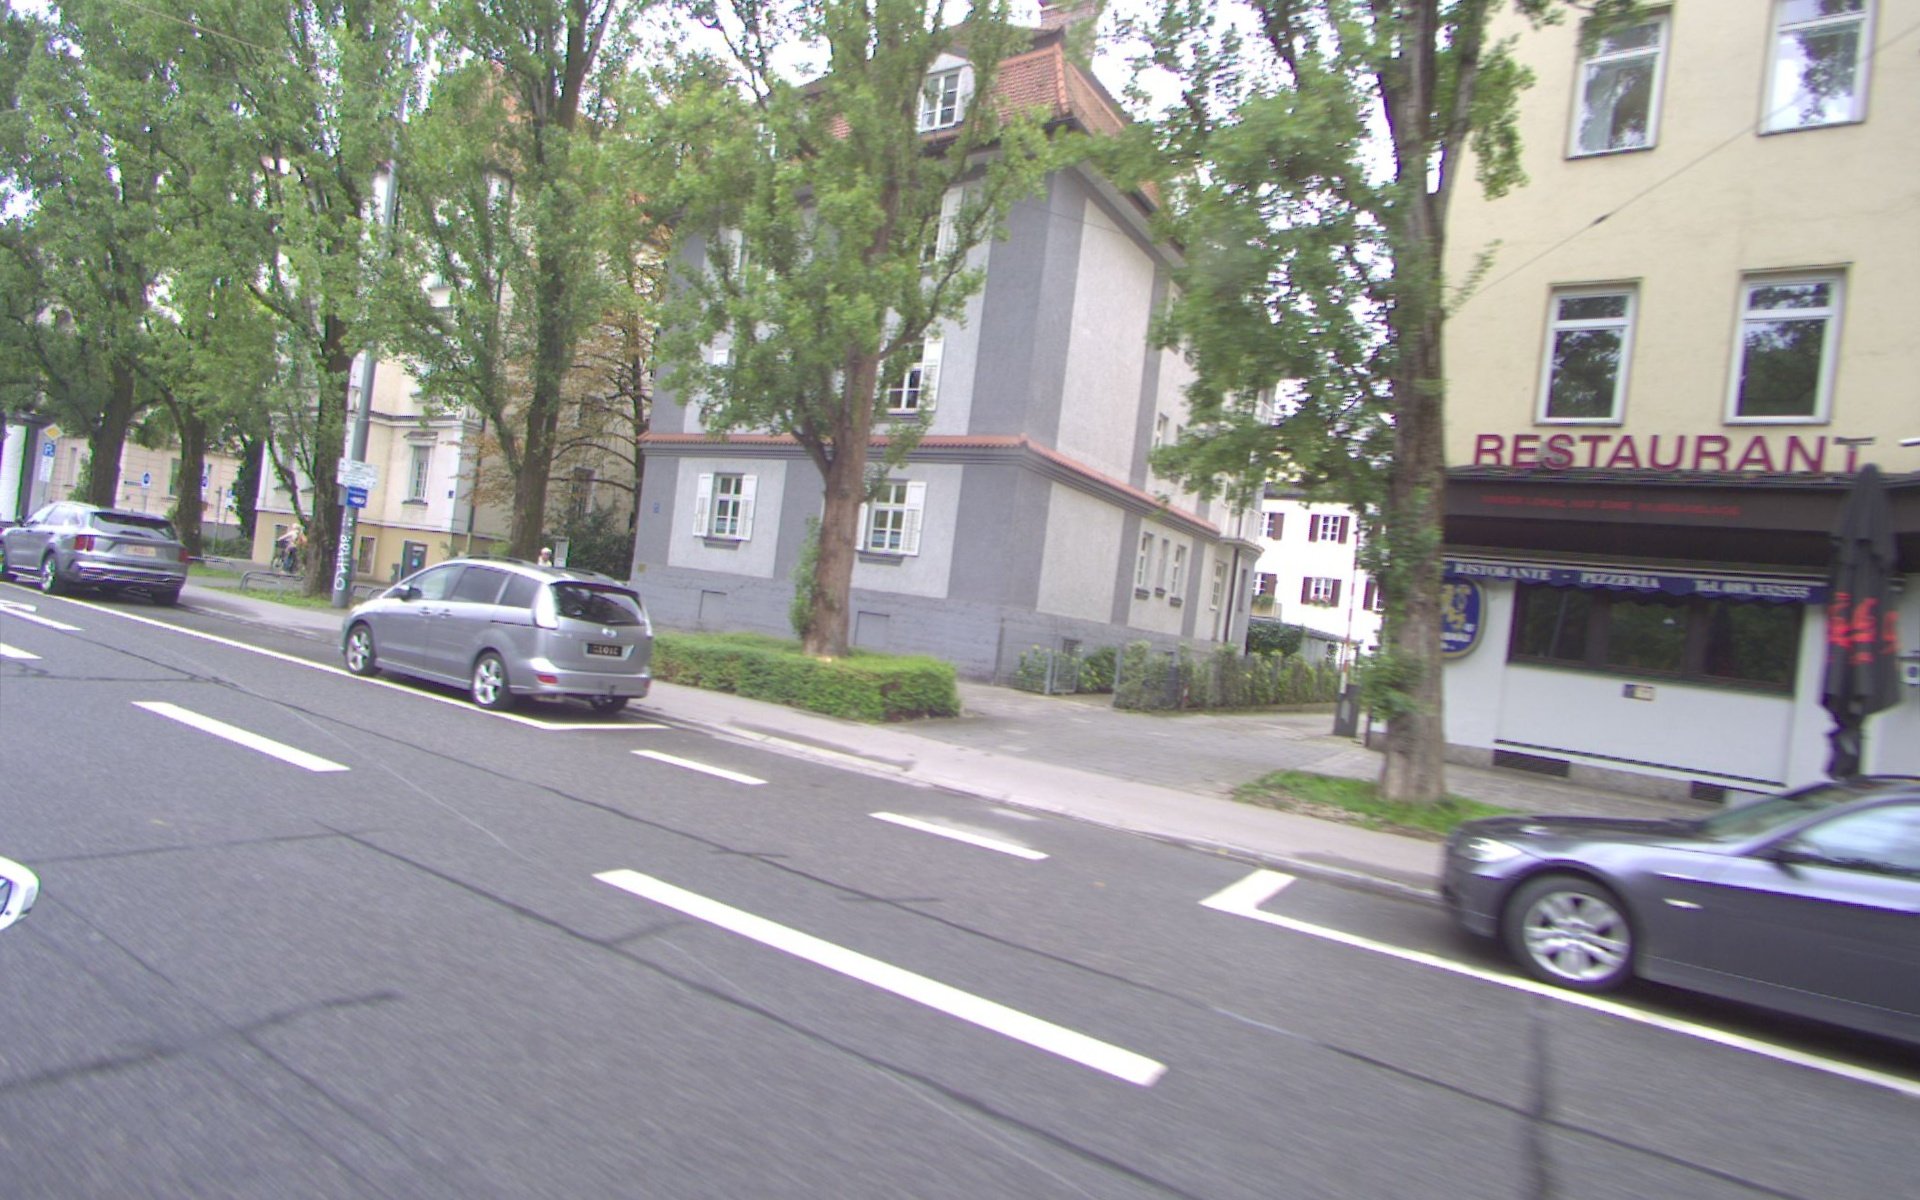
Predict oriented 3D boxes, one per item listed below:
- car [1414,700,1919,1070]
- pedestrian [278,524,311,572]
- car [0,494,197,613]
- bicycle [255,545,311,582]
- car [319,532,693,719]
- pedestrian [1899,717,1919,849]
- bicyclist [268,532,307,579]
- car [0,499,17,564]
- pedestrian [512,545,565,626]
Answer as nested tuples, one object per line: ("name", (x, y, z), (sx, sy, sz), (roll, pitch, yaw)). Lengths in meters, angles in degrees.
("car", (5.045, 1.591, 5.575), (4.309, 1.415, 1.802), (7, -1, 32))
("pedestrian", (-23.510, -1.822, 35.516), (0.726, 1.566, 0.553), (9, 1, 31))
("car", (-16.735, -0.942, 19.205), (4.622, 1.764, 1.802), (7, 0, 32))
("bicycle", (-21.002, -1.132, 31.191), (1.871, 0.934, 0.653), (7, 0, 31))
("car", (-5.558, 0.251, 12.142), (4.471, 1.632, 1.802), (7, 0, 32))
("pedestrian", (11.916, 2.249, 12.202), (0.487, 1.581, 0.573), (9, 1, 33))
("bicyclist", (-20.746, -1.363, 31.053), (0.694, 1.331, 0.661), (7, 0, 31))
("car", (-25.024, -1.907, 24.653), (3.935, 1.526, 1.802), (7, -1, 33))
("pedestrian", (-9.881, -0.345, 23.588), (0.810, 1.759, 0.592), (9, 1, 33))
